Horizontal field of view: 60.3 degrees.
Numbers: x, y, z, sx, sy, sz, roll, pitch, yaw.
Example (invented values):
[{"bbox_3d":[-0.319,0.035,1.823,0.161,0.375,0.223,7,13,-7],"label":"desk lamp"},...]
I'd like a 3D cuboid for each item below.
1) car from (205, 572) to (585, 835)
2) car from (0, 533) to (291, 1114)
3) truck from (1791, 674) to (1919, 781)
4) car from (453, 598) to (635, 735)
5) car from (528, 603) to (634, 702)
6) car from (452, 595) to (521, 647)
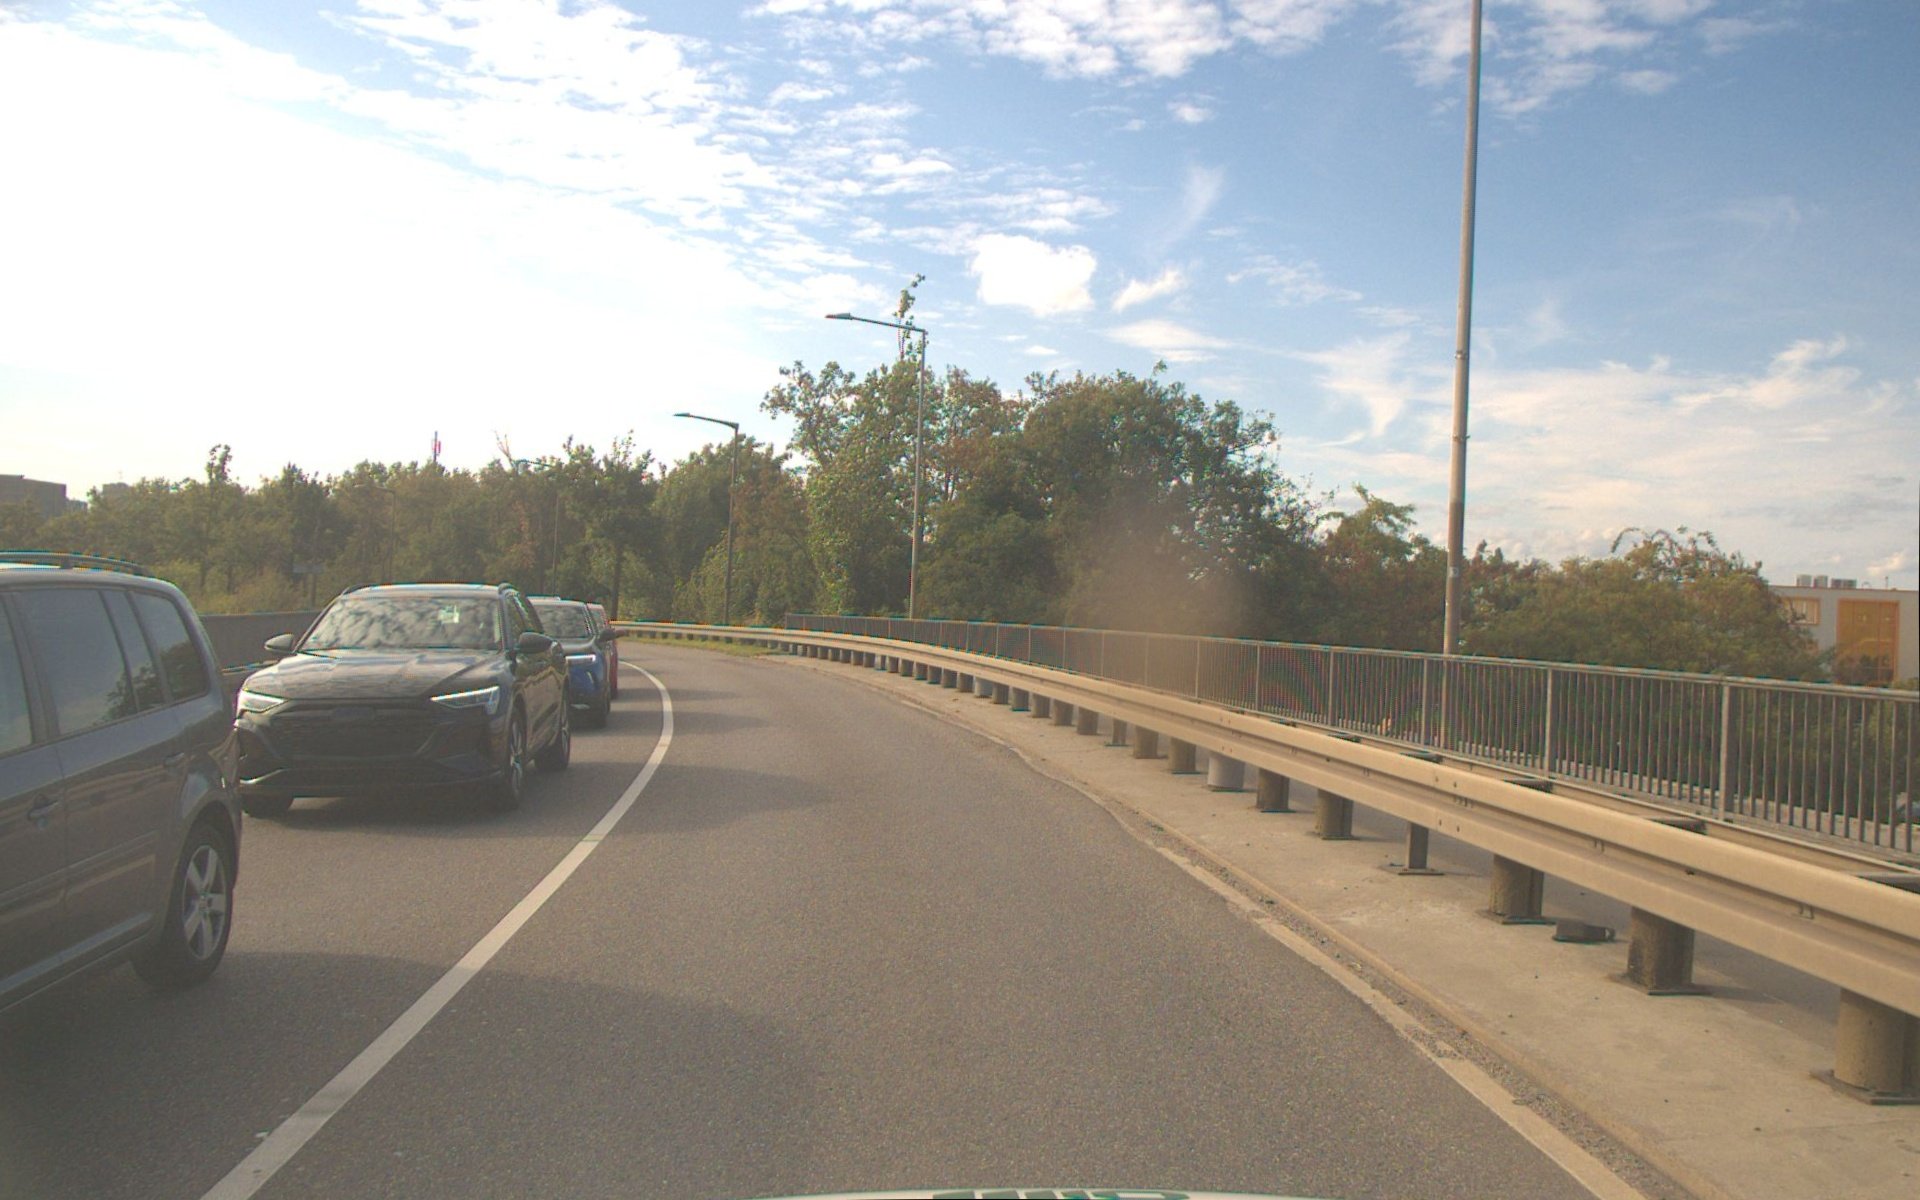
[{"bbox_3d":[-4.179,0.668,13.035,1.889,1.678,4.581,0,0,-7],"label":"car"},{"bbox_3d":[-3.612,0.652,4.989,1.648,1.678,4.295,0,0,-3],"label":"car"},{"bbox_3d":[48.612,6.586,87.916,3.554,4.940,11.279,0,0,2],"label":"truck"},{"bbox_3d":[-5.180,0.767,21.038,1.765,1.546,4.001,0,0,-7],"label":"car"},{"bbox_3d":[-6.174,0.801,27.061,1.571,1.490,3.725,0,0,-12],"label":"car"},{"bbox_3d":[-17.910,0.775,62.399,1.875,1.842,5.365,0,-1,-23],"label":"car"}]
